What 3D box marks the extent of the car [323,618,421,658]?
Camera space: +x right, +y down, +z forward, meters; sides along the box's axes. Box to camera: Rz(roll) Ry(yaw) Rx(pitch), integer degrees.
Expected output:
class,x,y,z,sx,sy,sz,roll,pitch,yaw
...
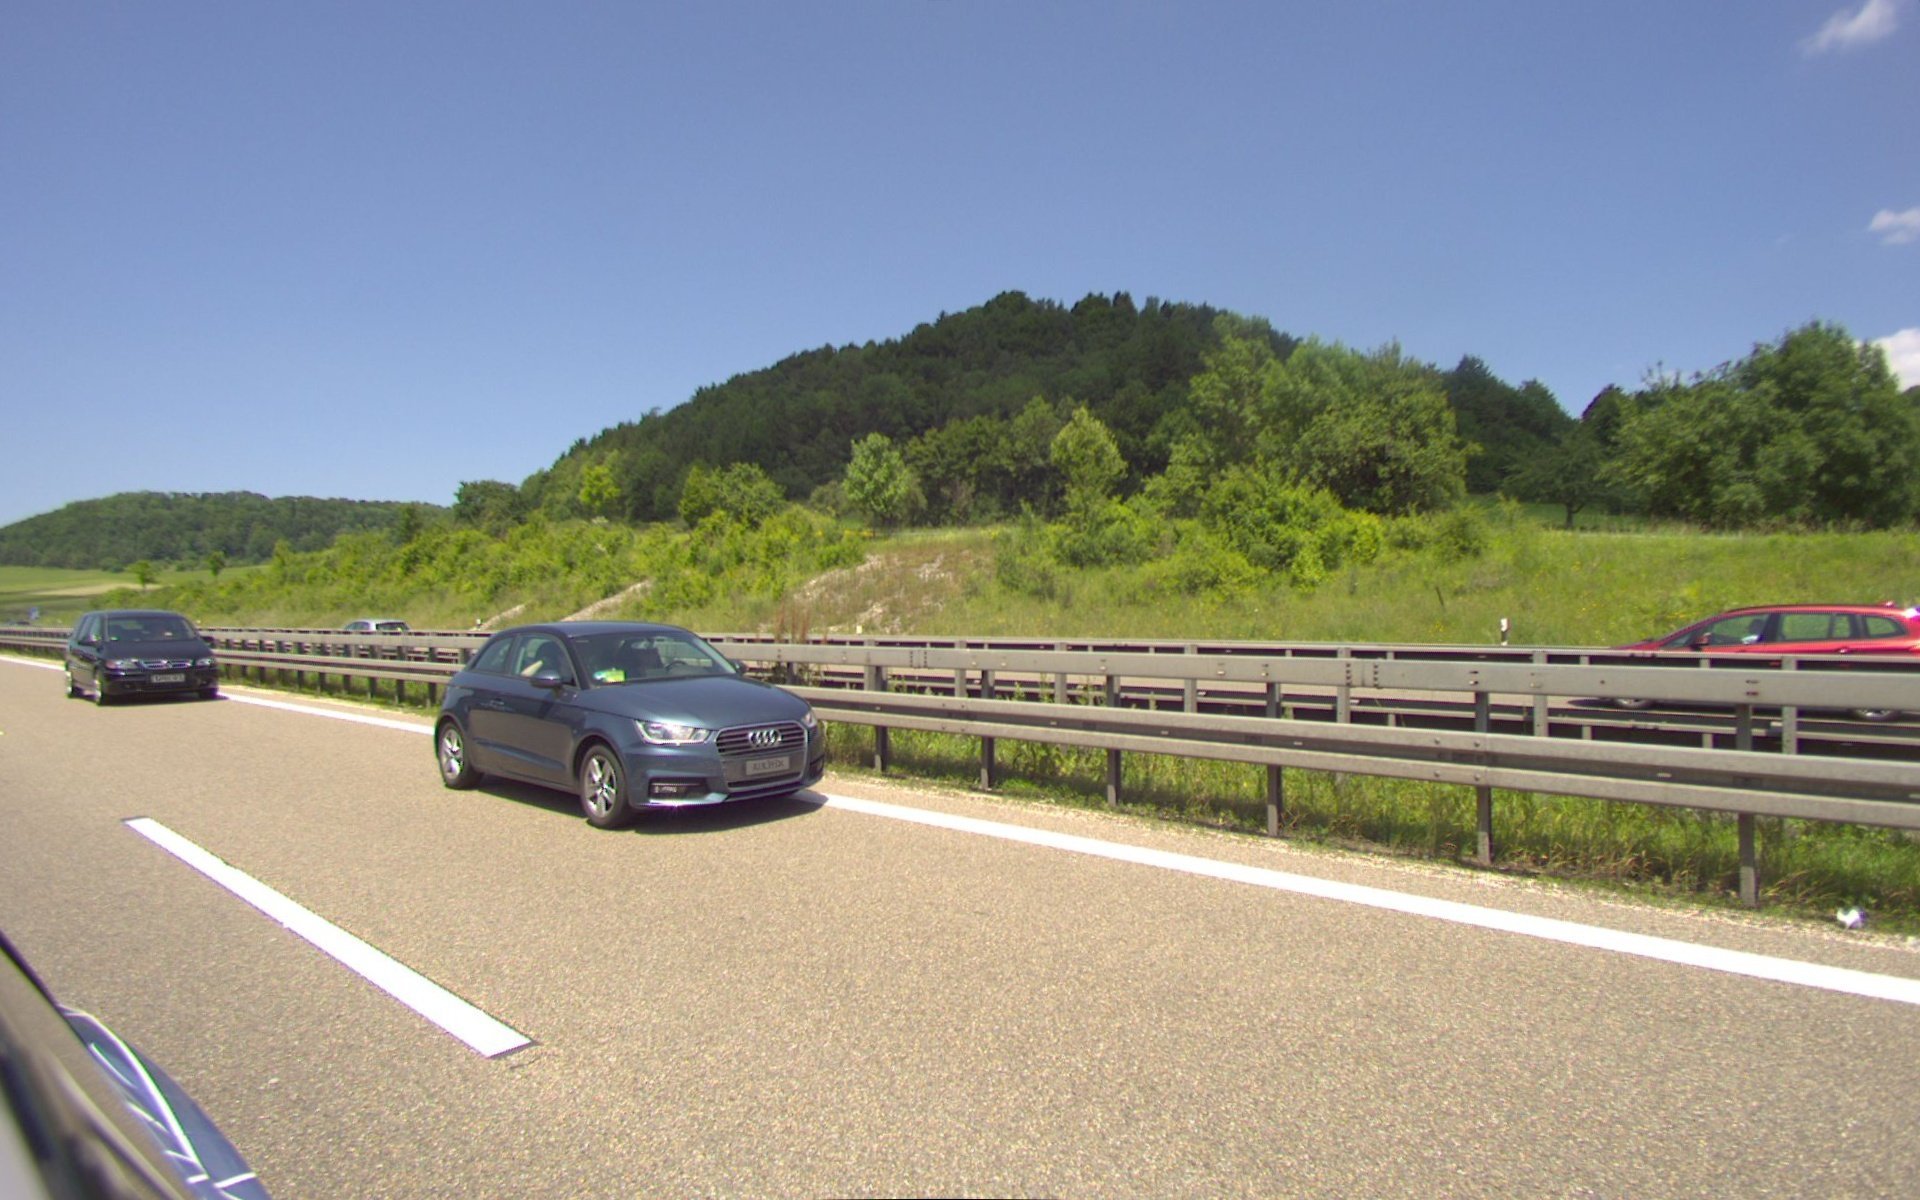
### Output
class,x,y,z,sx,sy,sz,roll,pitch,yaw
car,-22.984,1.458,39.510,4.525,1.466,1.973,-1,-1,41

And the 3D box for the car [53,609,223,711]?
class,x,y,z,sx,sy,sz,roll,pitch,yaw
car,-15.099,1.004,18.508,4.445,1.647,1.781,-1,-1,43

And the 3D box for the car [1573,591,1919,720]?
class,x,y,z,sx,sy,sz,roll,pitch,yaw
car,11.764,0.748,14.793,4.542,1.657,1.806,-1,-1,41

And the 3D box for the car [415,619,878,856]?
class,x,y,z,sx,sy,sz,roll,pitch,yaw
car,-2.633,0.860,7.996,3.998,1.399,1.671,-1,-1,41
